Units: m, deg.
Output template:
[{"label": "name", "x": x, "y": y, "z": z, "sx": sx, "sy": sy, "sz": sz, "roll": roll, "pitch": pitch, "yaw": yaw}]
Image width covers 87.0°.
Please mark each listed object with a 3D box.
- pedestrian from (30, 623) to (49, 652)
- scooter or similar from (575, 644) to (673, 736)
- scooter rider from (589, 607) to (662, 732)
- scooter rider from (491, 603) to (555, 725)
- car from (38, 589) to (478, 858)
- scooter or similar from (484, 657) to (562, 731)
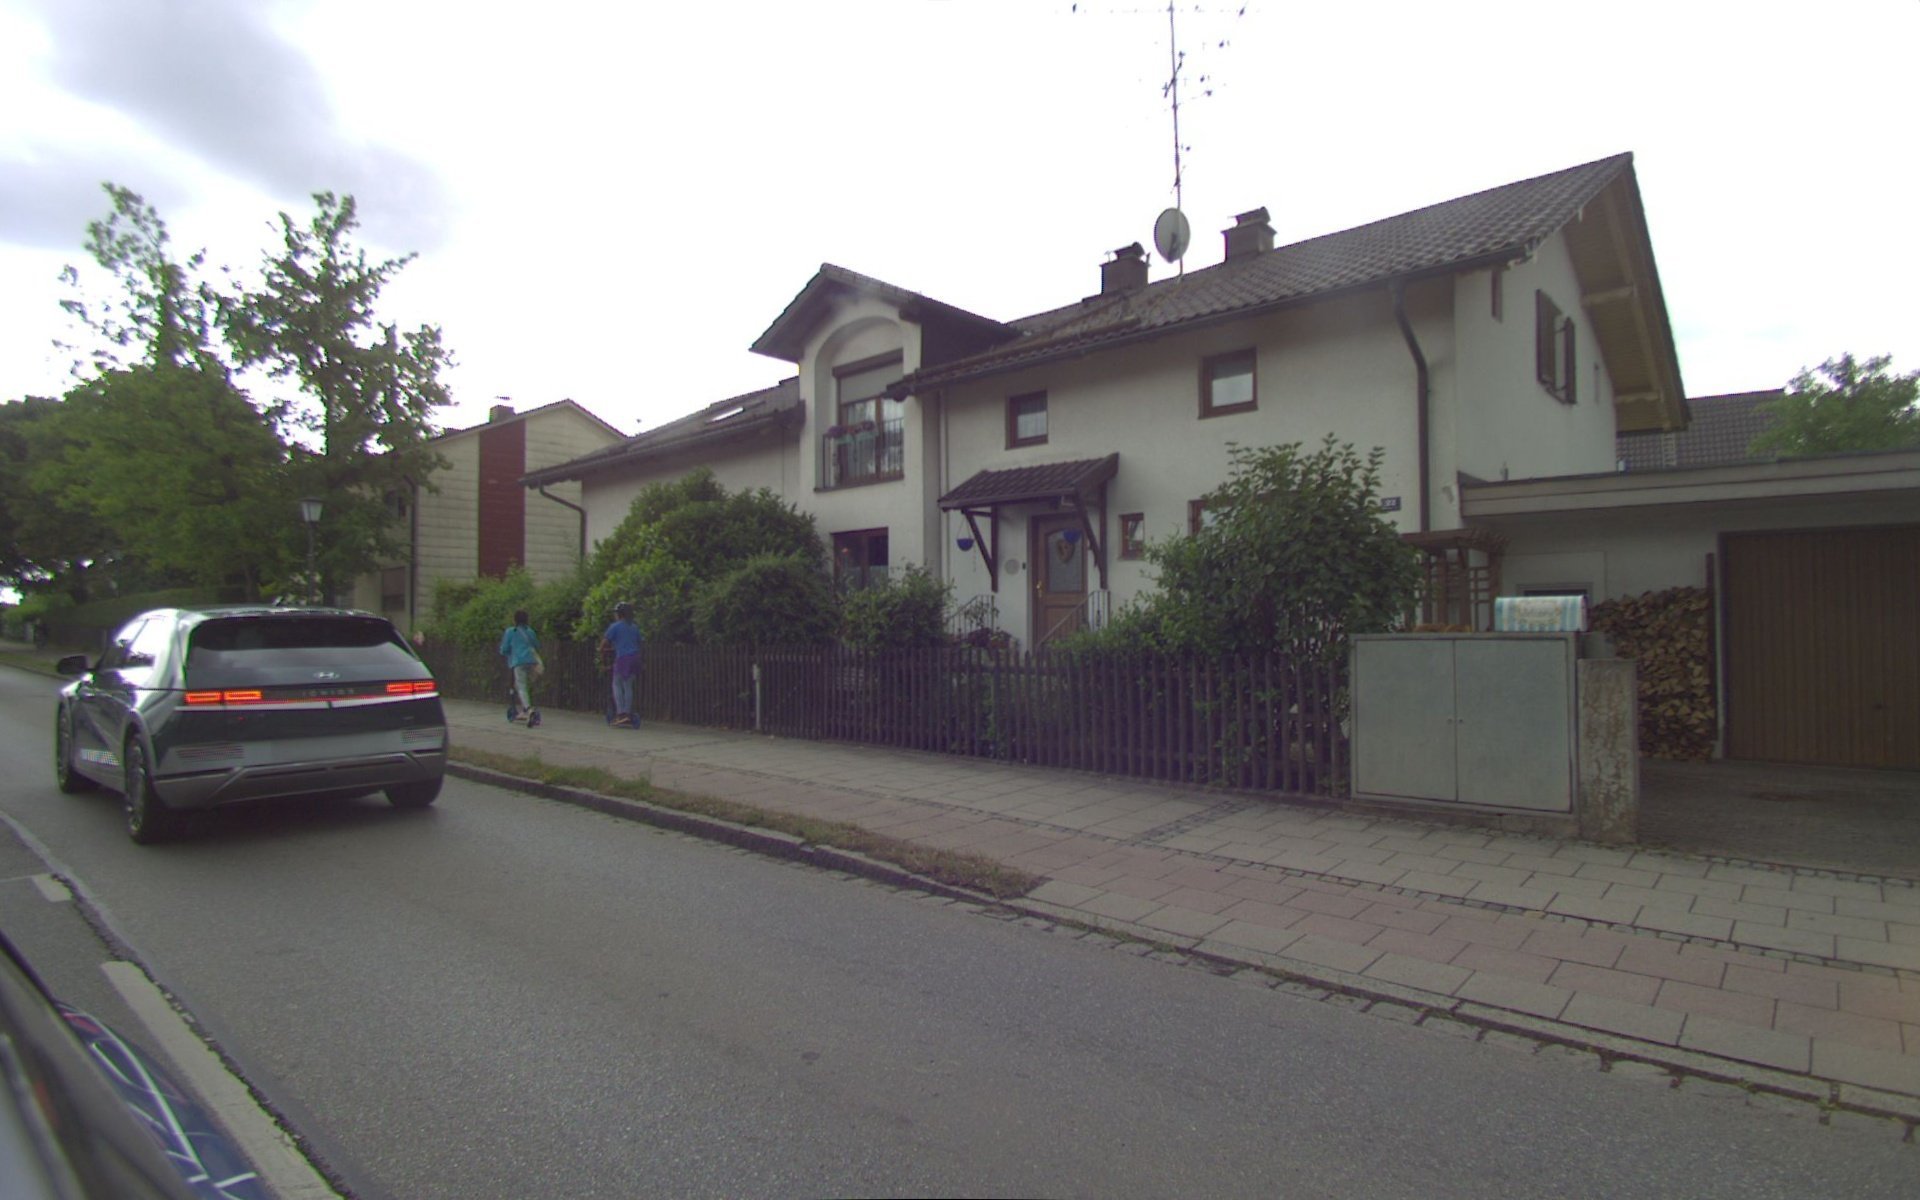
[{"label": "pedestrian", "x": -46.593, "y": 1.905, "z": 51.212, "sx": 0.563, "sy": 1.448, "sz": 0.623, "roll": -2, "pitch": -2, "yaw": 41}, {"label": "scooter or similar", "x": -4.147, "y": 1.077, "z": 12.477, "sx": 1.178, "sy": 1.045, "sz": 0.654, "roll": -2, "pitch": -2, "yaw": 42}, {"label": "scooter rider", "x": -4.120, "y": 0.832, "z": 12.458, "sx": 0.580, "sy": 1.484, "sz": 0.655, "roll": -2, "pitch": -2, "yaw": 41}, {"label": "scooter rider", "x": -5.569, "y": 0.801, "z": 12.893, "sx": 0.716, "sy": 1.501, "sz": 0.497, "roll": -2, "pitch": -2, "yaw": 43}, {"label": "car", "x": -5.797, "y": 0.783, "z": 8.148, "sx": 4.309, "sy": 1.587, "sz": 1.910, "roll": -1, "pitch": -2, "yaw": 41}, {"label": "scooter or similar", "x": -5.583, "y": 1.182, "z": 12.920, "sx": 1.061, "sy": 0.856, "sz": 0.516, "roll": -2, "pitch": -1, "yaw": 42}]
